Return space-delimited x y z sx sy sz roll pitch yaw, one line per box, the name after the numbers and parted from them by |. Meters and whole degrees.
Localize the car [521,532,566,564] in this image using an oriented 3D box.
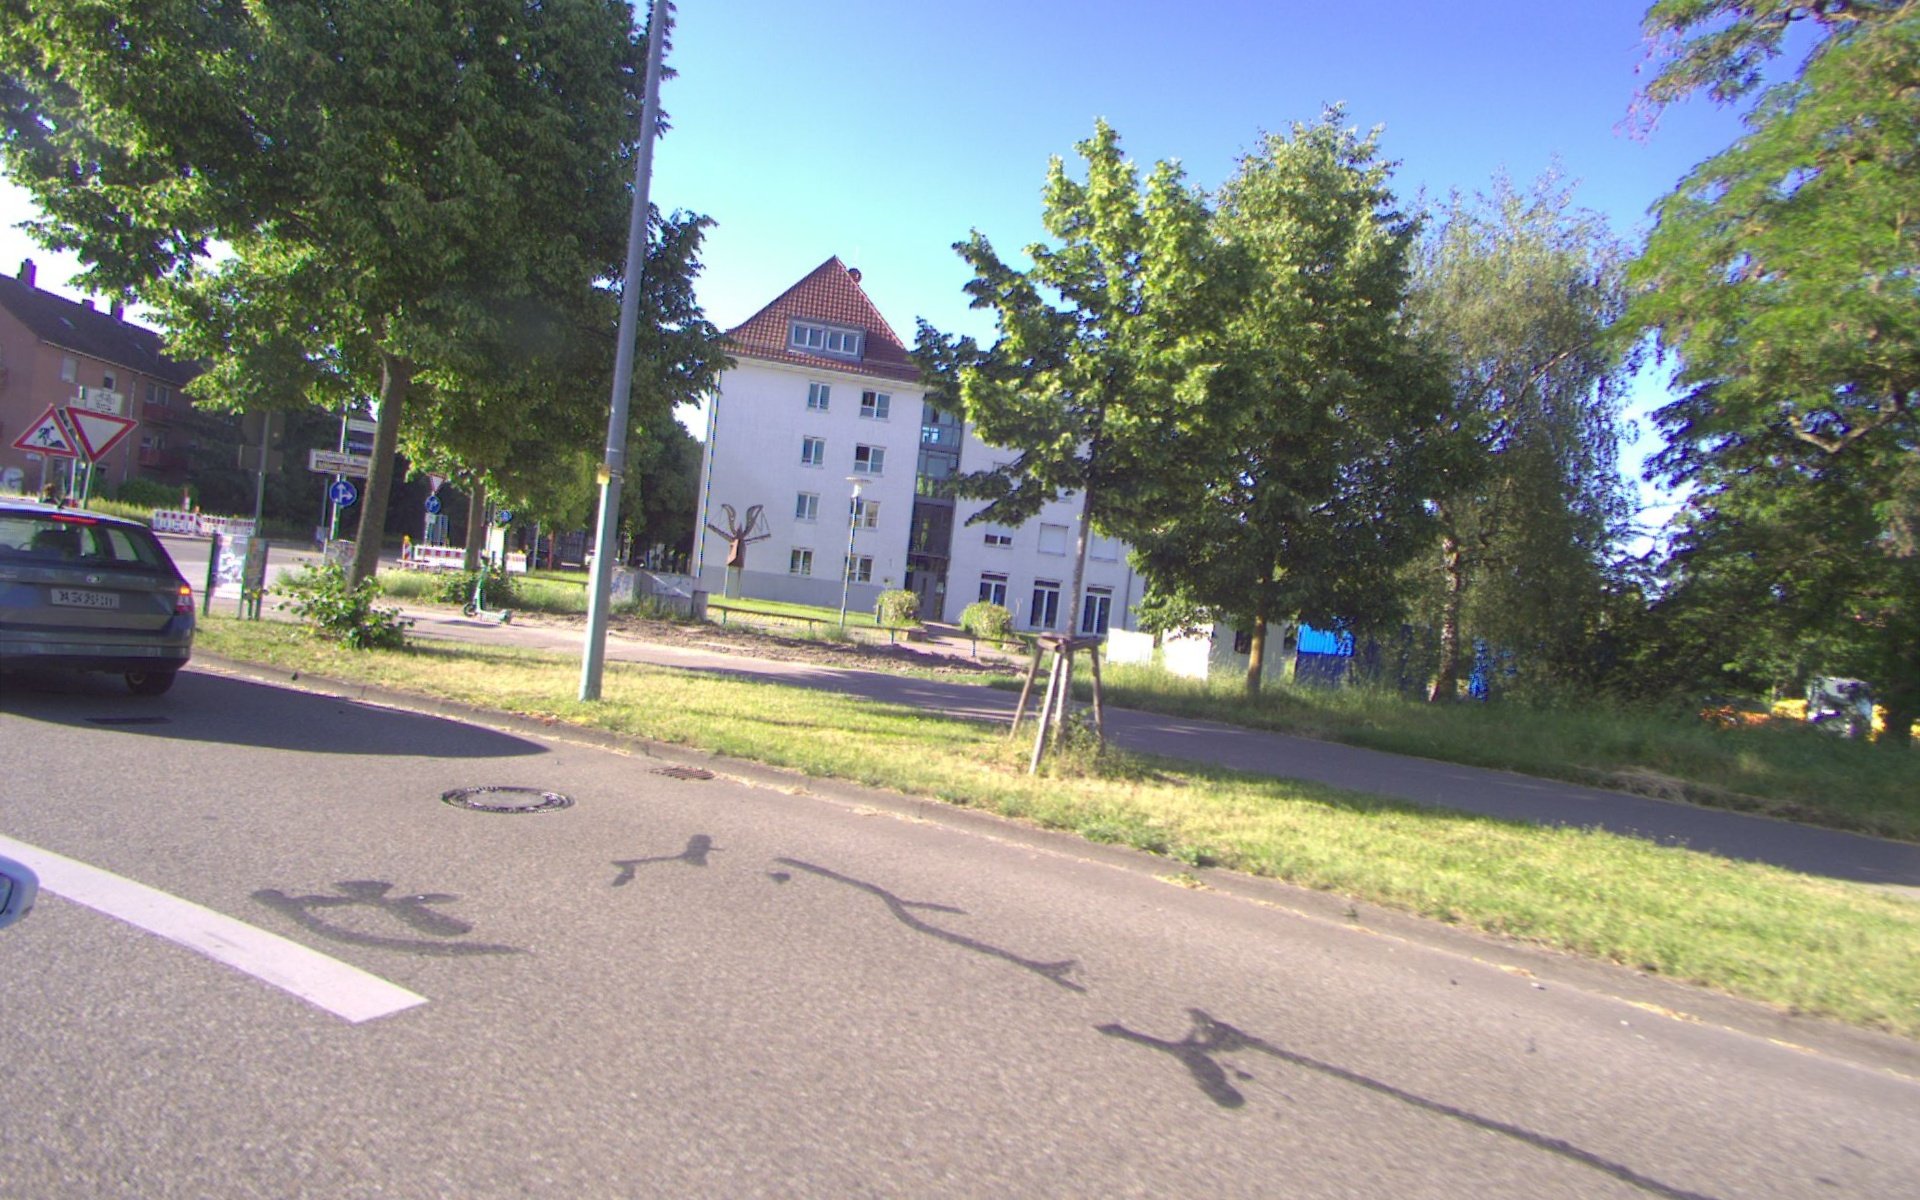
-31.973 -3.947 77.360 1.965 1.893 3.997 8 -2 -7 | car

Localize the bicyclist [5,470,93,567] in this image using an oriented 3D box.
-17.466 -1.540 19.307 0.883 1.685 0.660 7 0 -3 | bicyclist

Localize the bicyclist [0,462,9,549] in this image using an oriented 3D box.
-19.780 -1.943 20.089 0.798 1.751 0.653 6 1 -8 | bicyclist

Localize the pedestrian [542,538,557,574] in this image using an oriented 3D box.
-23.627 -2.532 57.866 0.463 2.039 0.454 7 1 0 | pedestrian

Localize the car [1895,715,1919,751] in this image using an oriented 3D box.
46.055 6.372 46.448 1.802 1.574 3.803 8 -2 -8 | car

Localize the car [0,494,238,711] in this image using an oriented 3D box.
-7.966 -0.144 8.207 4.081 1.454 1.717 7 0 29 | car

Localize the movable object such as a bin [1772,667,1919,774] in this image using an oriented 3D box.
28.519 3.780 30.915 1.973 2.821 5.026 8 -1 -20 | movable object such as a bin

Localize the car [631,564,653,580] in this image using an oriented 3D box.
-44.575 -3.896 141.188 1.965 1.893 3.997 8 -2 -7 | car

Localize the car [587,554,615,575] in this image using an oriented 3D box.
-40.435 -3.932 113.353 1.965 1.893 3.997 8 -2 -7 | car

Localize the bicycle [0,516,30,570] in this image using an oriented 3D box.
-19.911 -1.242 20.105 1.792 1.040 0.659 7 -1 -8 | bicycle

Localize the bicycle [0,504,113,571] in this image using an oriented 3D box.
-17.515 -1.200 19.314 1.791 1.040 0.660 7 -1 -3 | bicycle

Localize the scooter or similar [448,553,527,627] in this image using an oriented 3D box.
-9.043 -0.185 19.252 1.240 1.262 0.445 6 -1 13 | scooter or similar
